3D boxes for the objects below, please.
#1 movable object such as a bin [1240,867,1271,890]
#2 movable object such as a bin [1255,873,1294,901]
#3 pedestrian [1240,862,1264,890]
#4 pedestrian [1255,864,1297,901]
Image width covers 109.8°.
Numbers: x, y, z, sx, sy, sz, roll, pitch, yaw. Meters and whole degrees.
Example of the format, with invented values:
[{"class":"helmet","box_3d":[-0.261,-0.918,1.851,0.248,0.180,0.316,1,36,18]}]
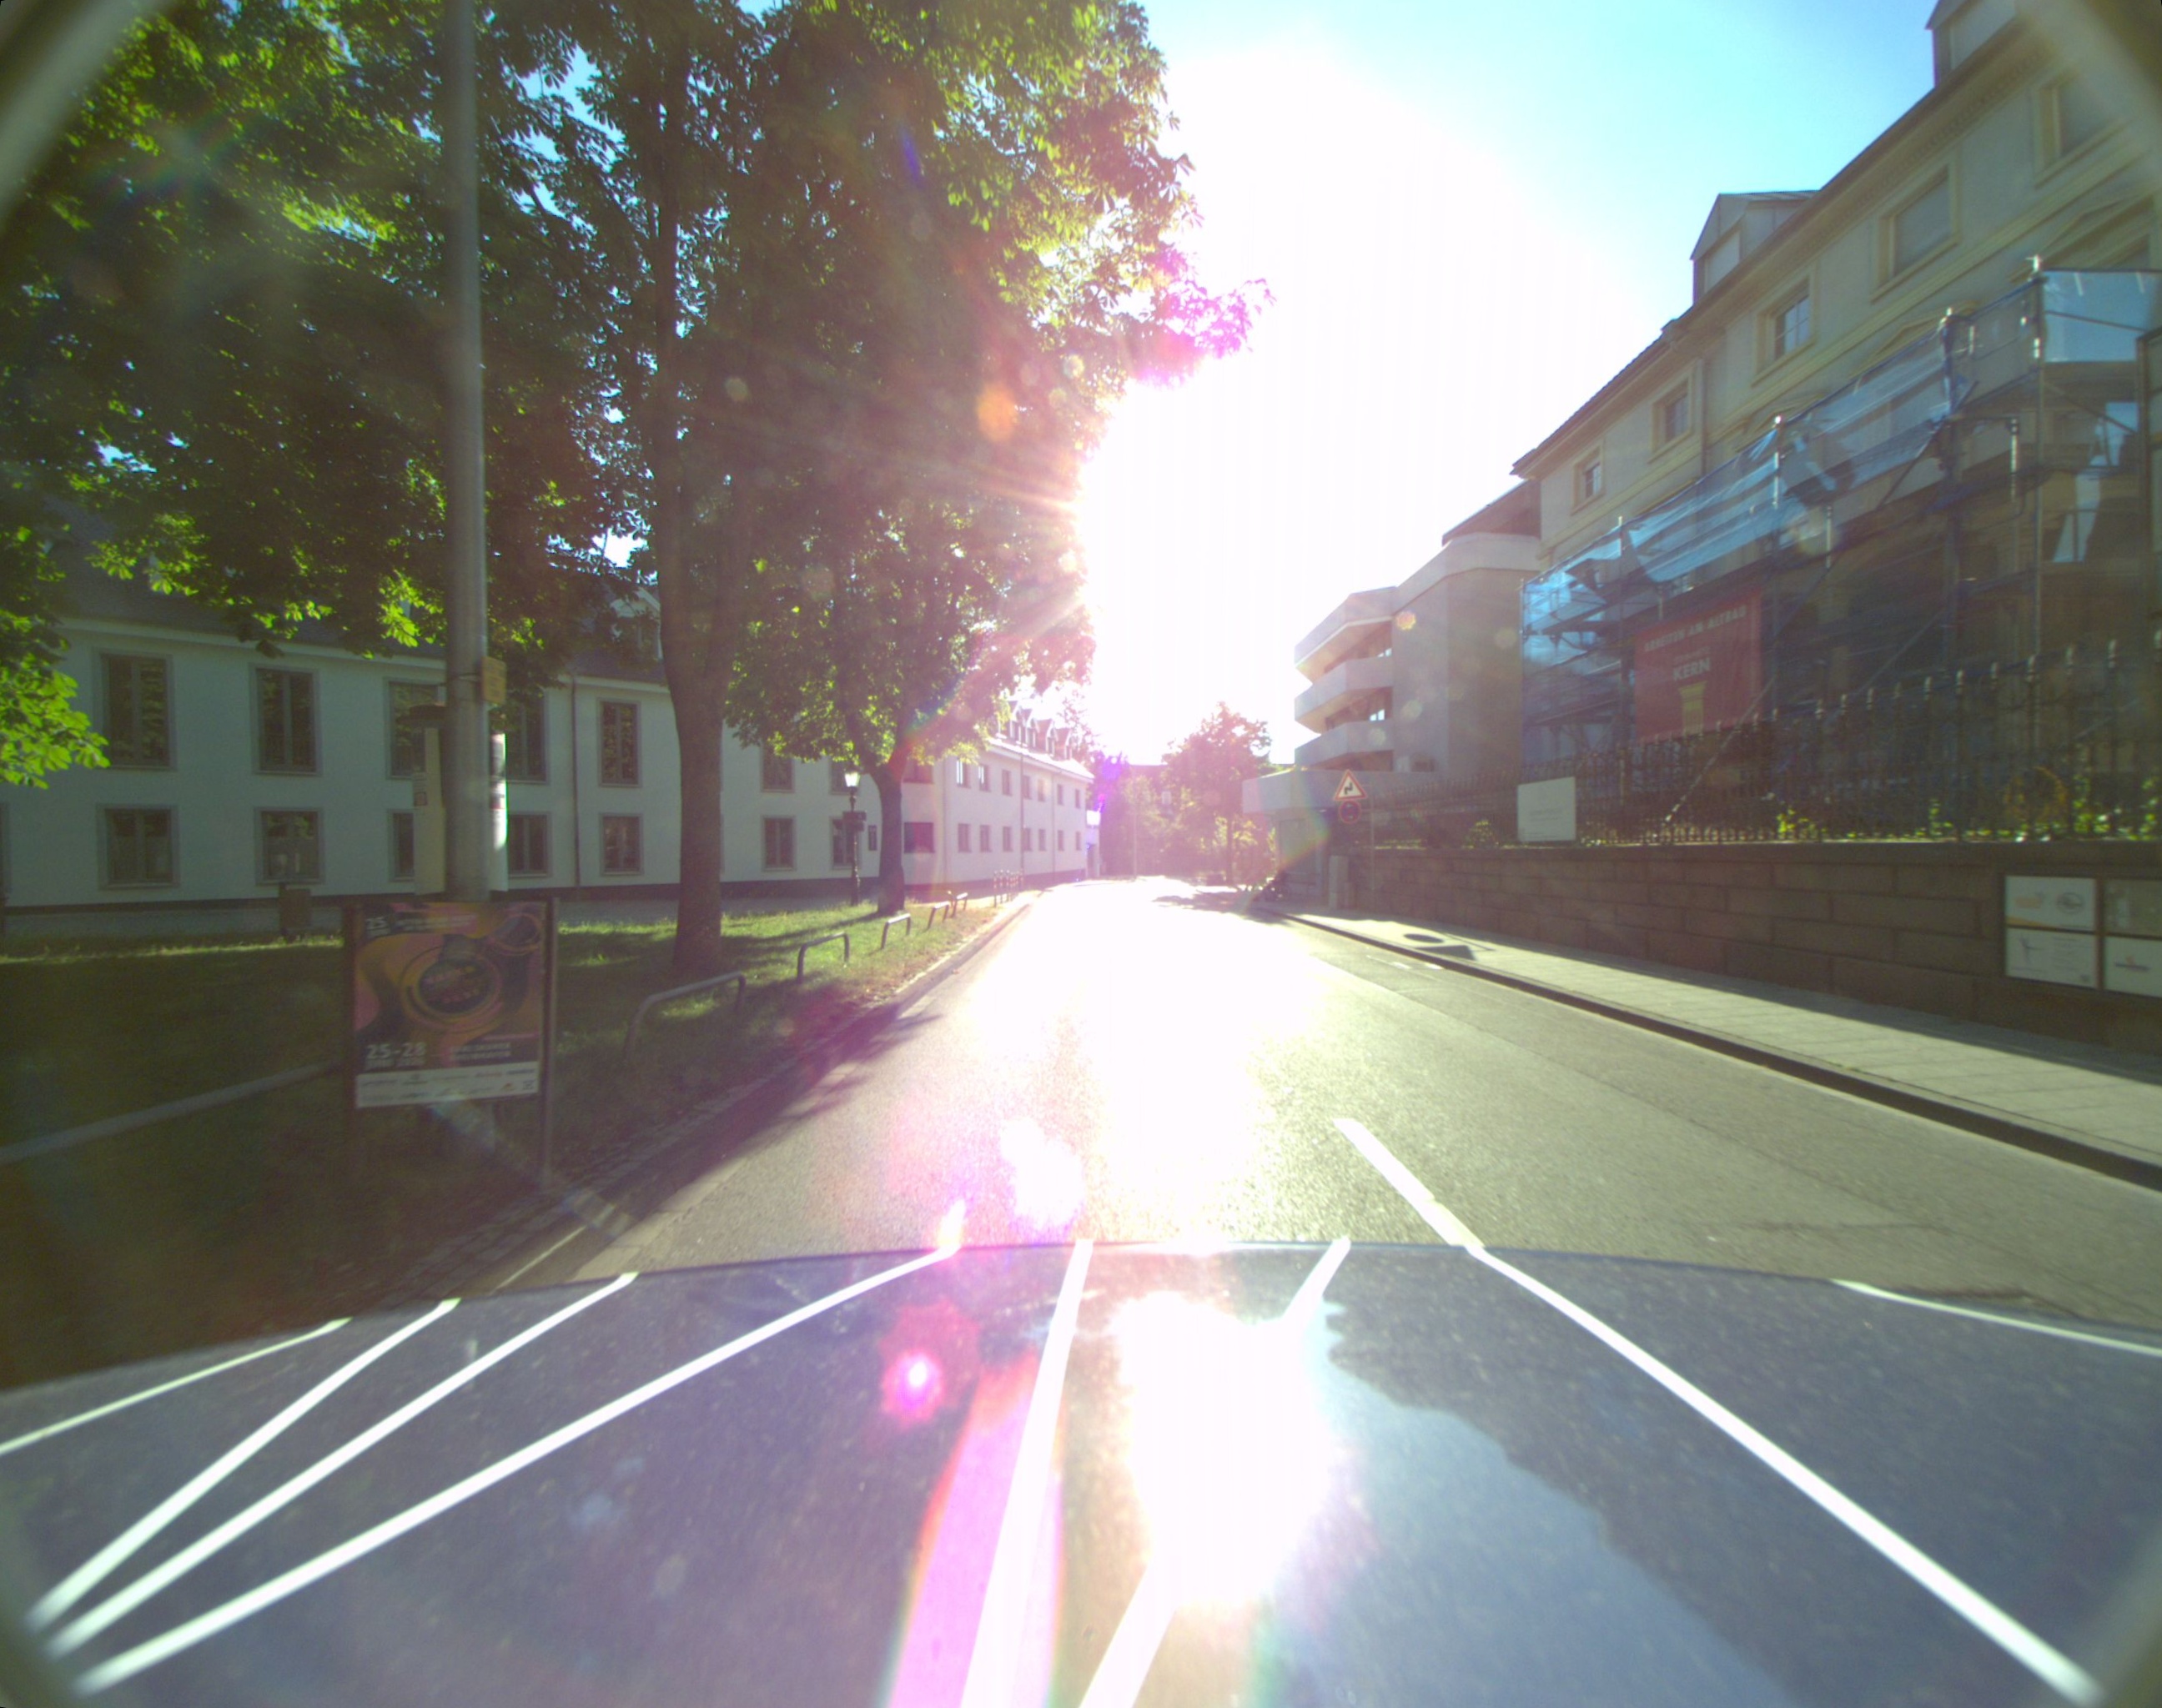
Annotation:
[{"class":"movable object such as a bin","box_3d":[7.556,1.062,32.882,1.038,0.923,0.840,-3,1,-6]},{"class":"movable object such as a bin","box_3d":[6.733,1.153,26.396,1.035,0.923,0.842,-2,1,35]},{"class":"pedestrian","box_3d":[7.380,0.940,32.871,0.743,1.179,0.840,-3,1,-6]},{"class":"pedestrian","box_3d":[6.772,0.990,26.420,1.155,1.222,0.842,-2,1,35]}]
